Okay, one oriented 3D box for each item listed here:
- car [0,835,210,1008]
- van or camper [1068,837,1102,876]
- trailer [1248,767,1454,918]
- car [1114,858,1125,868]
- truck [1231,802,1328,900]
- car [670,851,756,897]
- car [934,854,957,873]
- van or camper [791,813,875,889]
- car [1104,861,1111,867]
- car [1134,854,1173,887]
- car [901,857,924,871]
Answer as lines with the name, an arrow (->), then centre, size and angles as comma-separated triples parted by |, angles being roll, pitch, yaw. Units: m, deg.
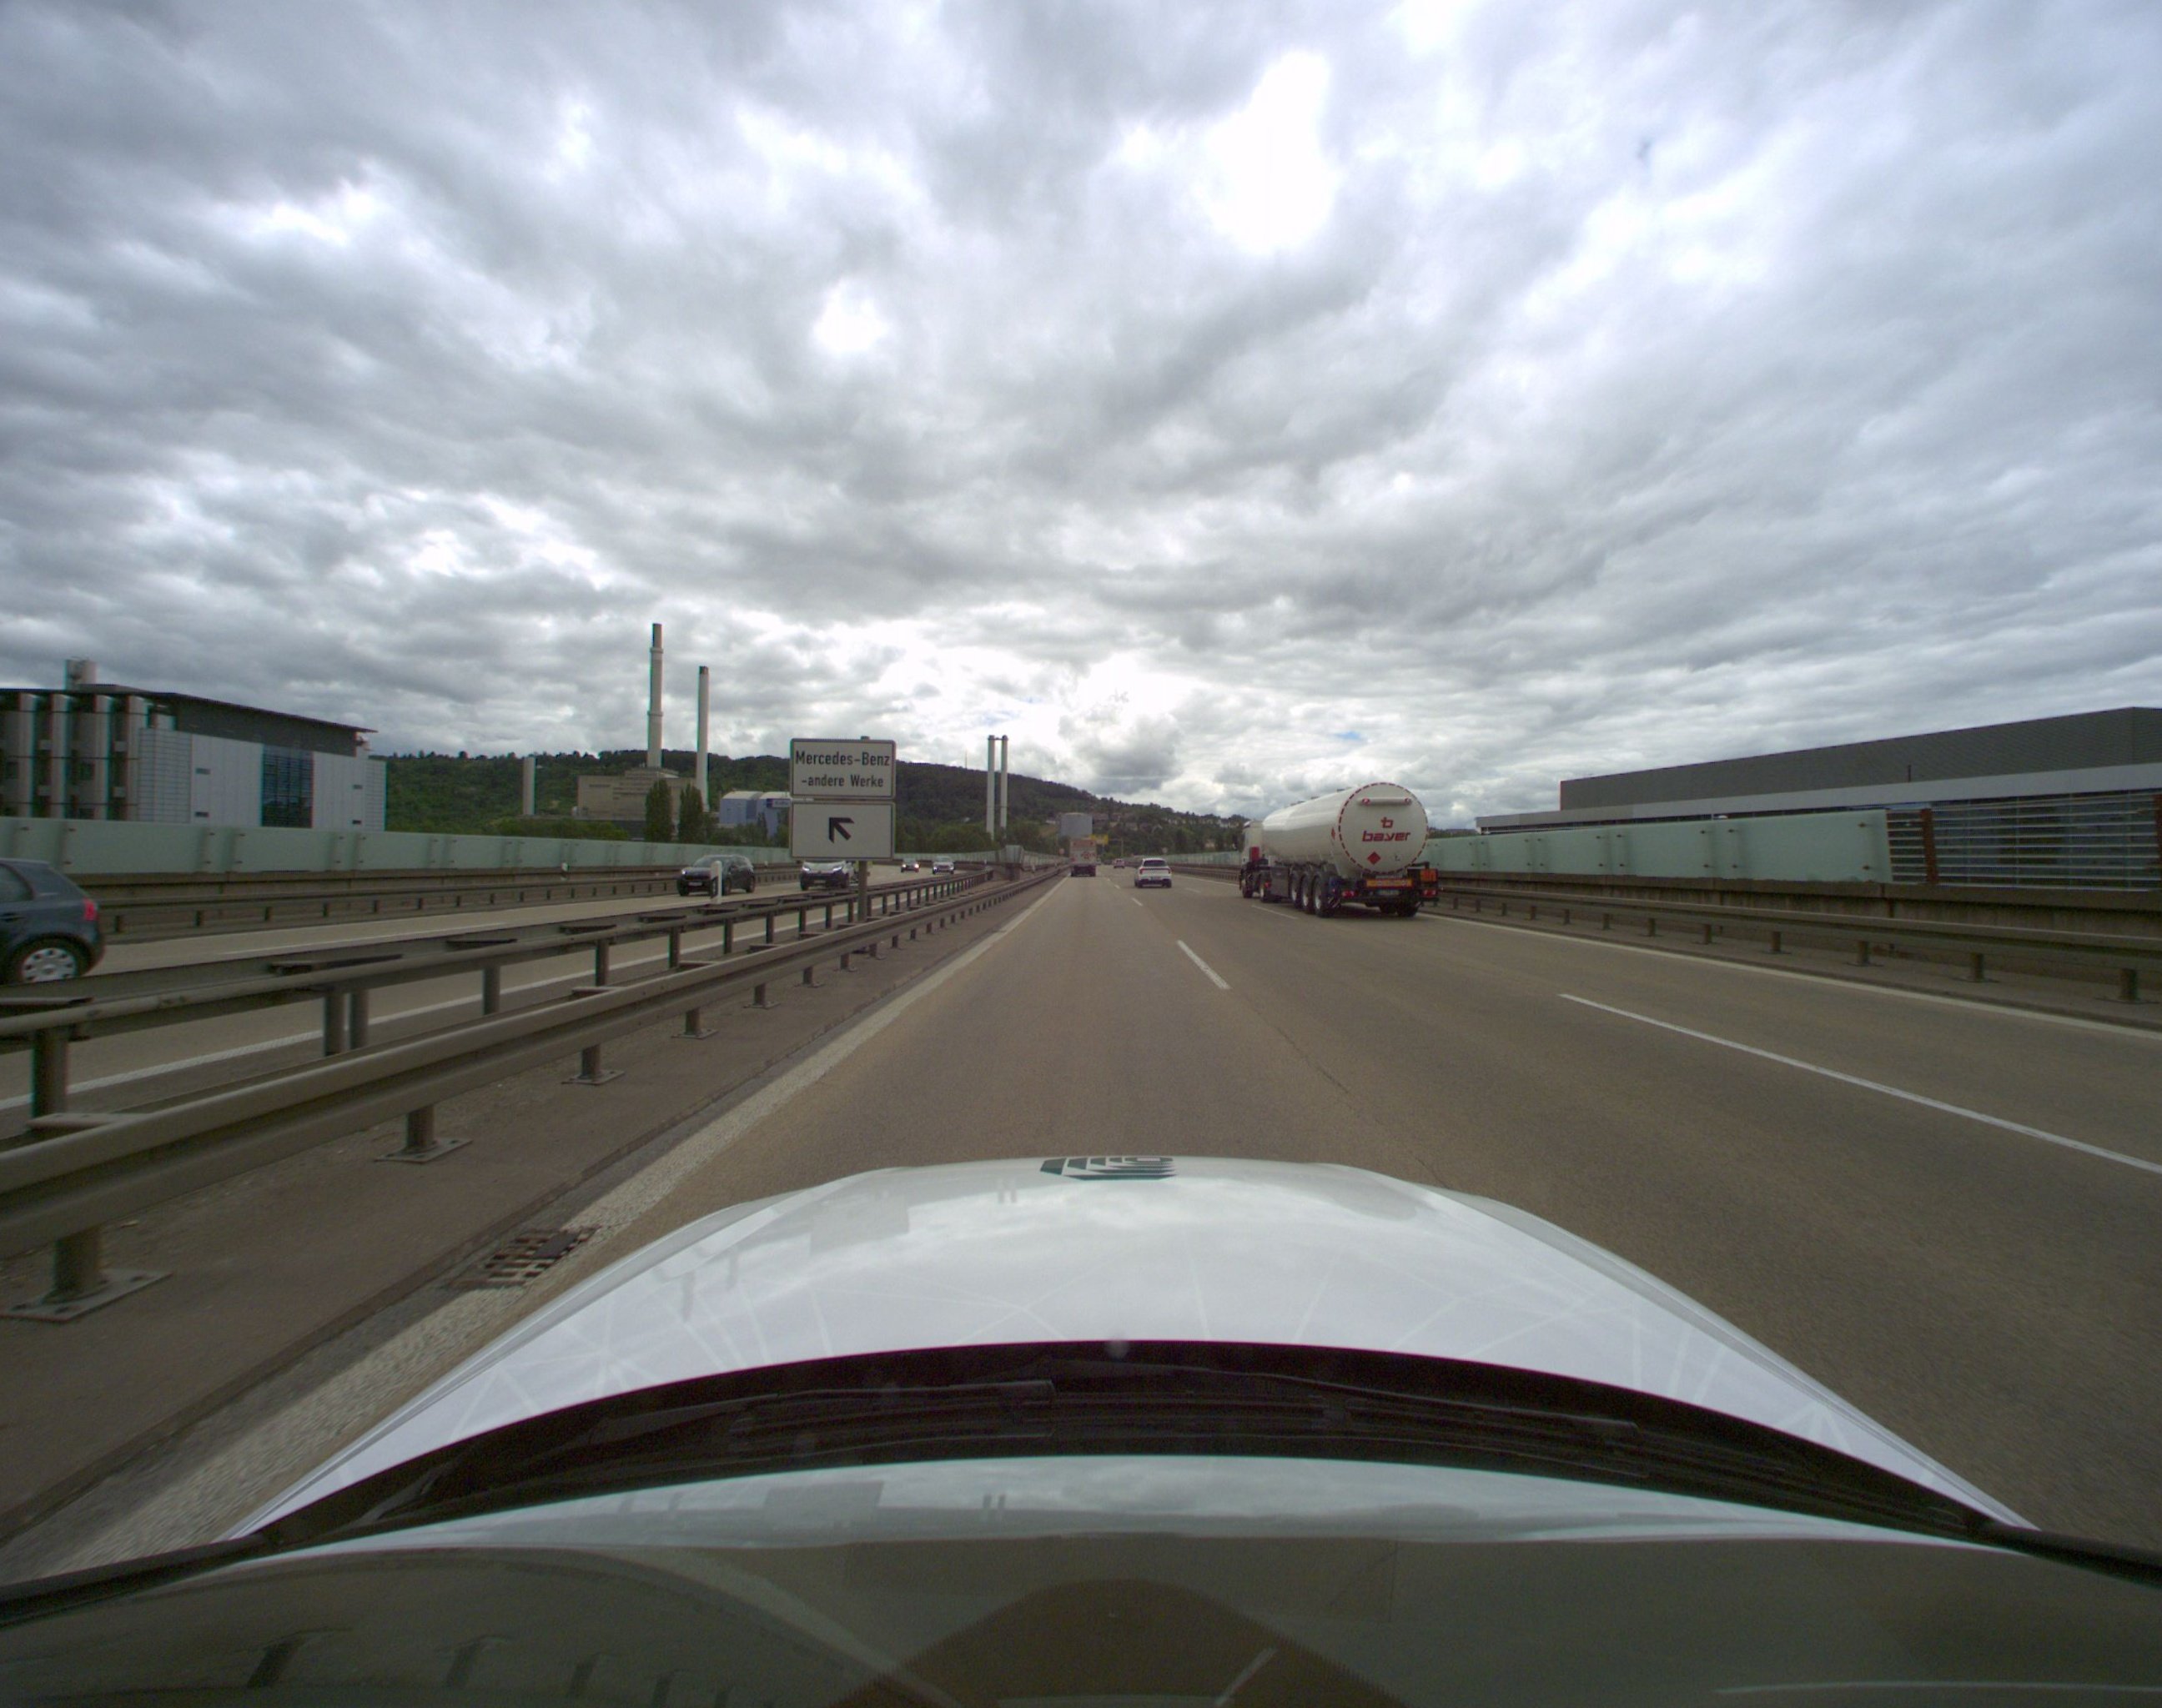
car -> -11.057, 0.641, 6.997 | 2.016, 1.611, 4.811 | -1, 0, -1
van or camper -> 0.468, 0.283, 80.575 | 3.110, 3.579, 8.552 | 0, -1, 1
trailer -> 7.495, -0.192, 24.780 | 2.641, 3.543, 11.220 | 0, -1, 1
car -> 6.733, 1.598, 142.194 | 1.916, 1.785, 4.116 | 0, 0, 3
truck -> 7.589, -0.092, 31.710 | 2.622, 3.514, 4.904 | -1, -1, 0
car -> -14.909, 0.765, 33.265 | 1.751, 1.748, 4.363 | 0, 0, -3
car -> -12.353, 0.871, 74.370 | 1.843, 1.673, 4.396 | 0, 0, -7
van or camper -> -11.899, -0.093, 39.617 | 2.400, 3.388, 6.944 | 0, -1, -4
car -> 7.878, 2.885, 239.879 | 1.917, 1.785, 4.113 | 0, 0, 1
car -> 4.062, 0.914, 46.143 | 1.917, 1.785, 4.113 | 0, 0, 1
car -> -17.954, 1.051, 86.794 | 1.756, 1.431, 4.391 | 0, 0, -3
